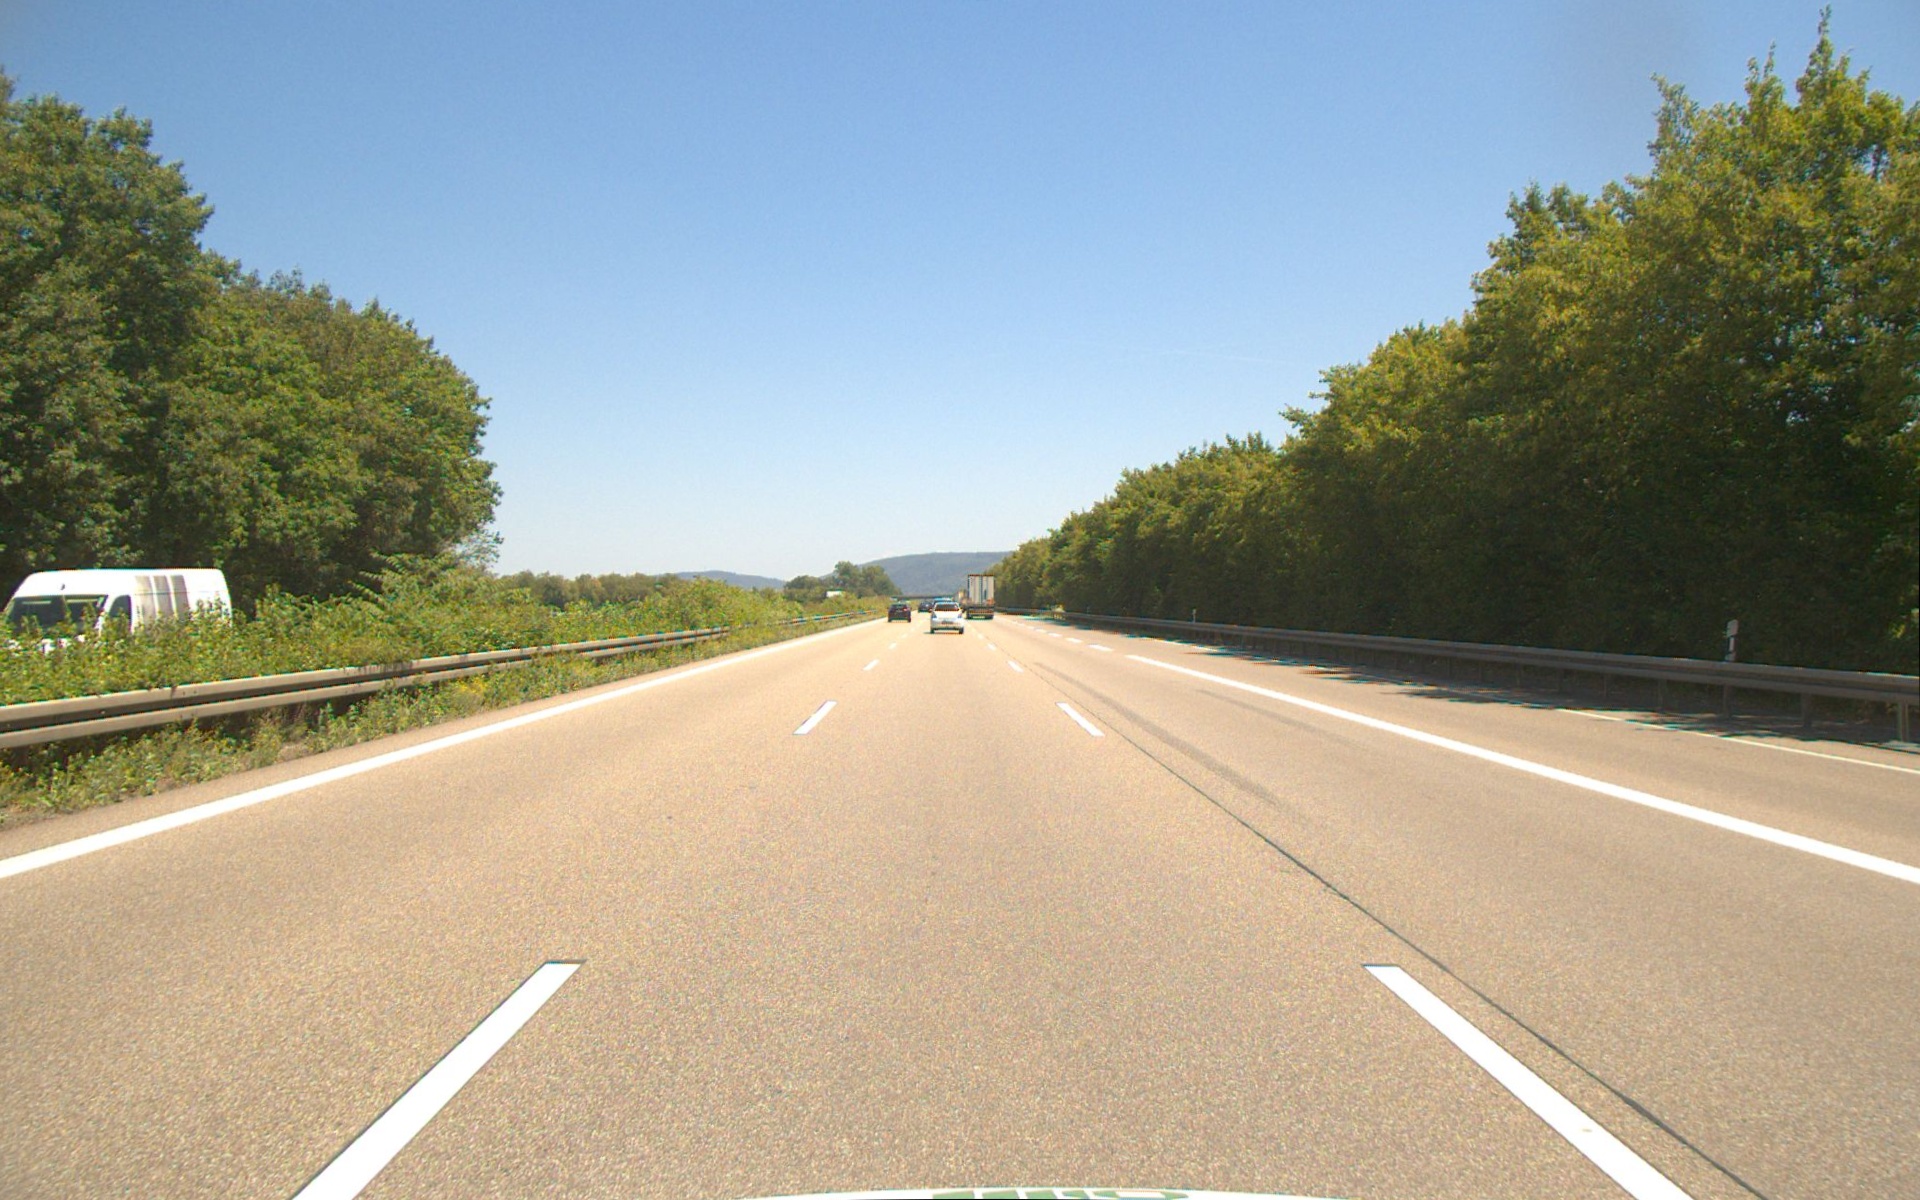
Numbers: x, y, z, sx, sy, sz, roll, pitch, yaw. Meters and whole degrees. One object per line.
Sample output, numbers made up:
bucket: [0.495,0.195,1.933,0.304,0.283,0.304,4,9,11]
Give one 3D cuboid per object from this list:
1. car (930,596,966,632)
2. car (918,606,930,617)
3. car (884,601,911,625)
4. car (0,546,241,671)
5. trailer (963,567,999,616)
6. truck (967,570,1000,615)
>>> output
car: [-0.611,0.676,82.211,1.697,1.713,3.999,-1,0,-1]
car: [-5.219,1.694,240.655,1.759,1.578,3.999,0,-1,-1]
car: [-4.809,0.994,127.306,1.953,1.742,3.999,1,0,-1]
car: [-16.019,0.144,31.151,2.102,2.090,6.632,1,0,-1]
trailer: [2.125,-0.754,159.561,3.151,4.421,13.631,1,0,2]
truck: [2.361,-0.726,167.060,3.151,4.421,6.591,1,0,2]
